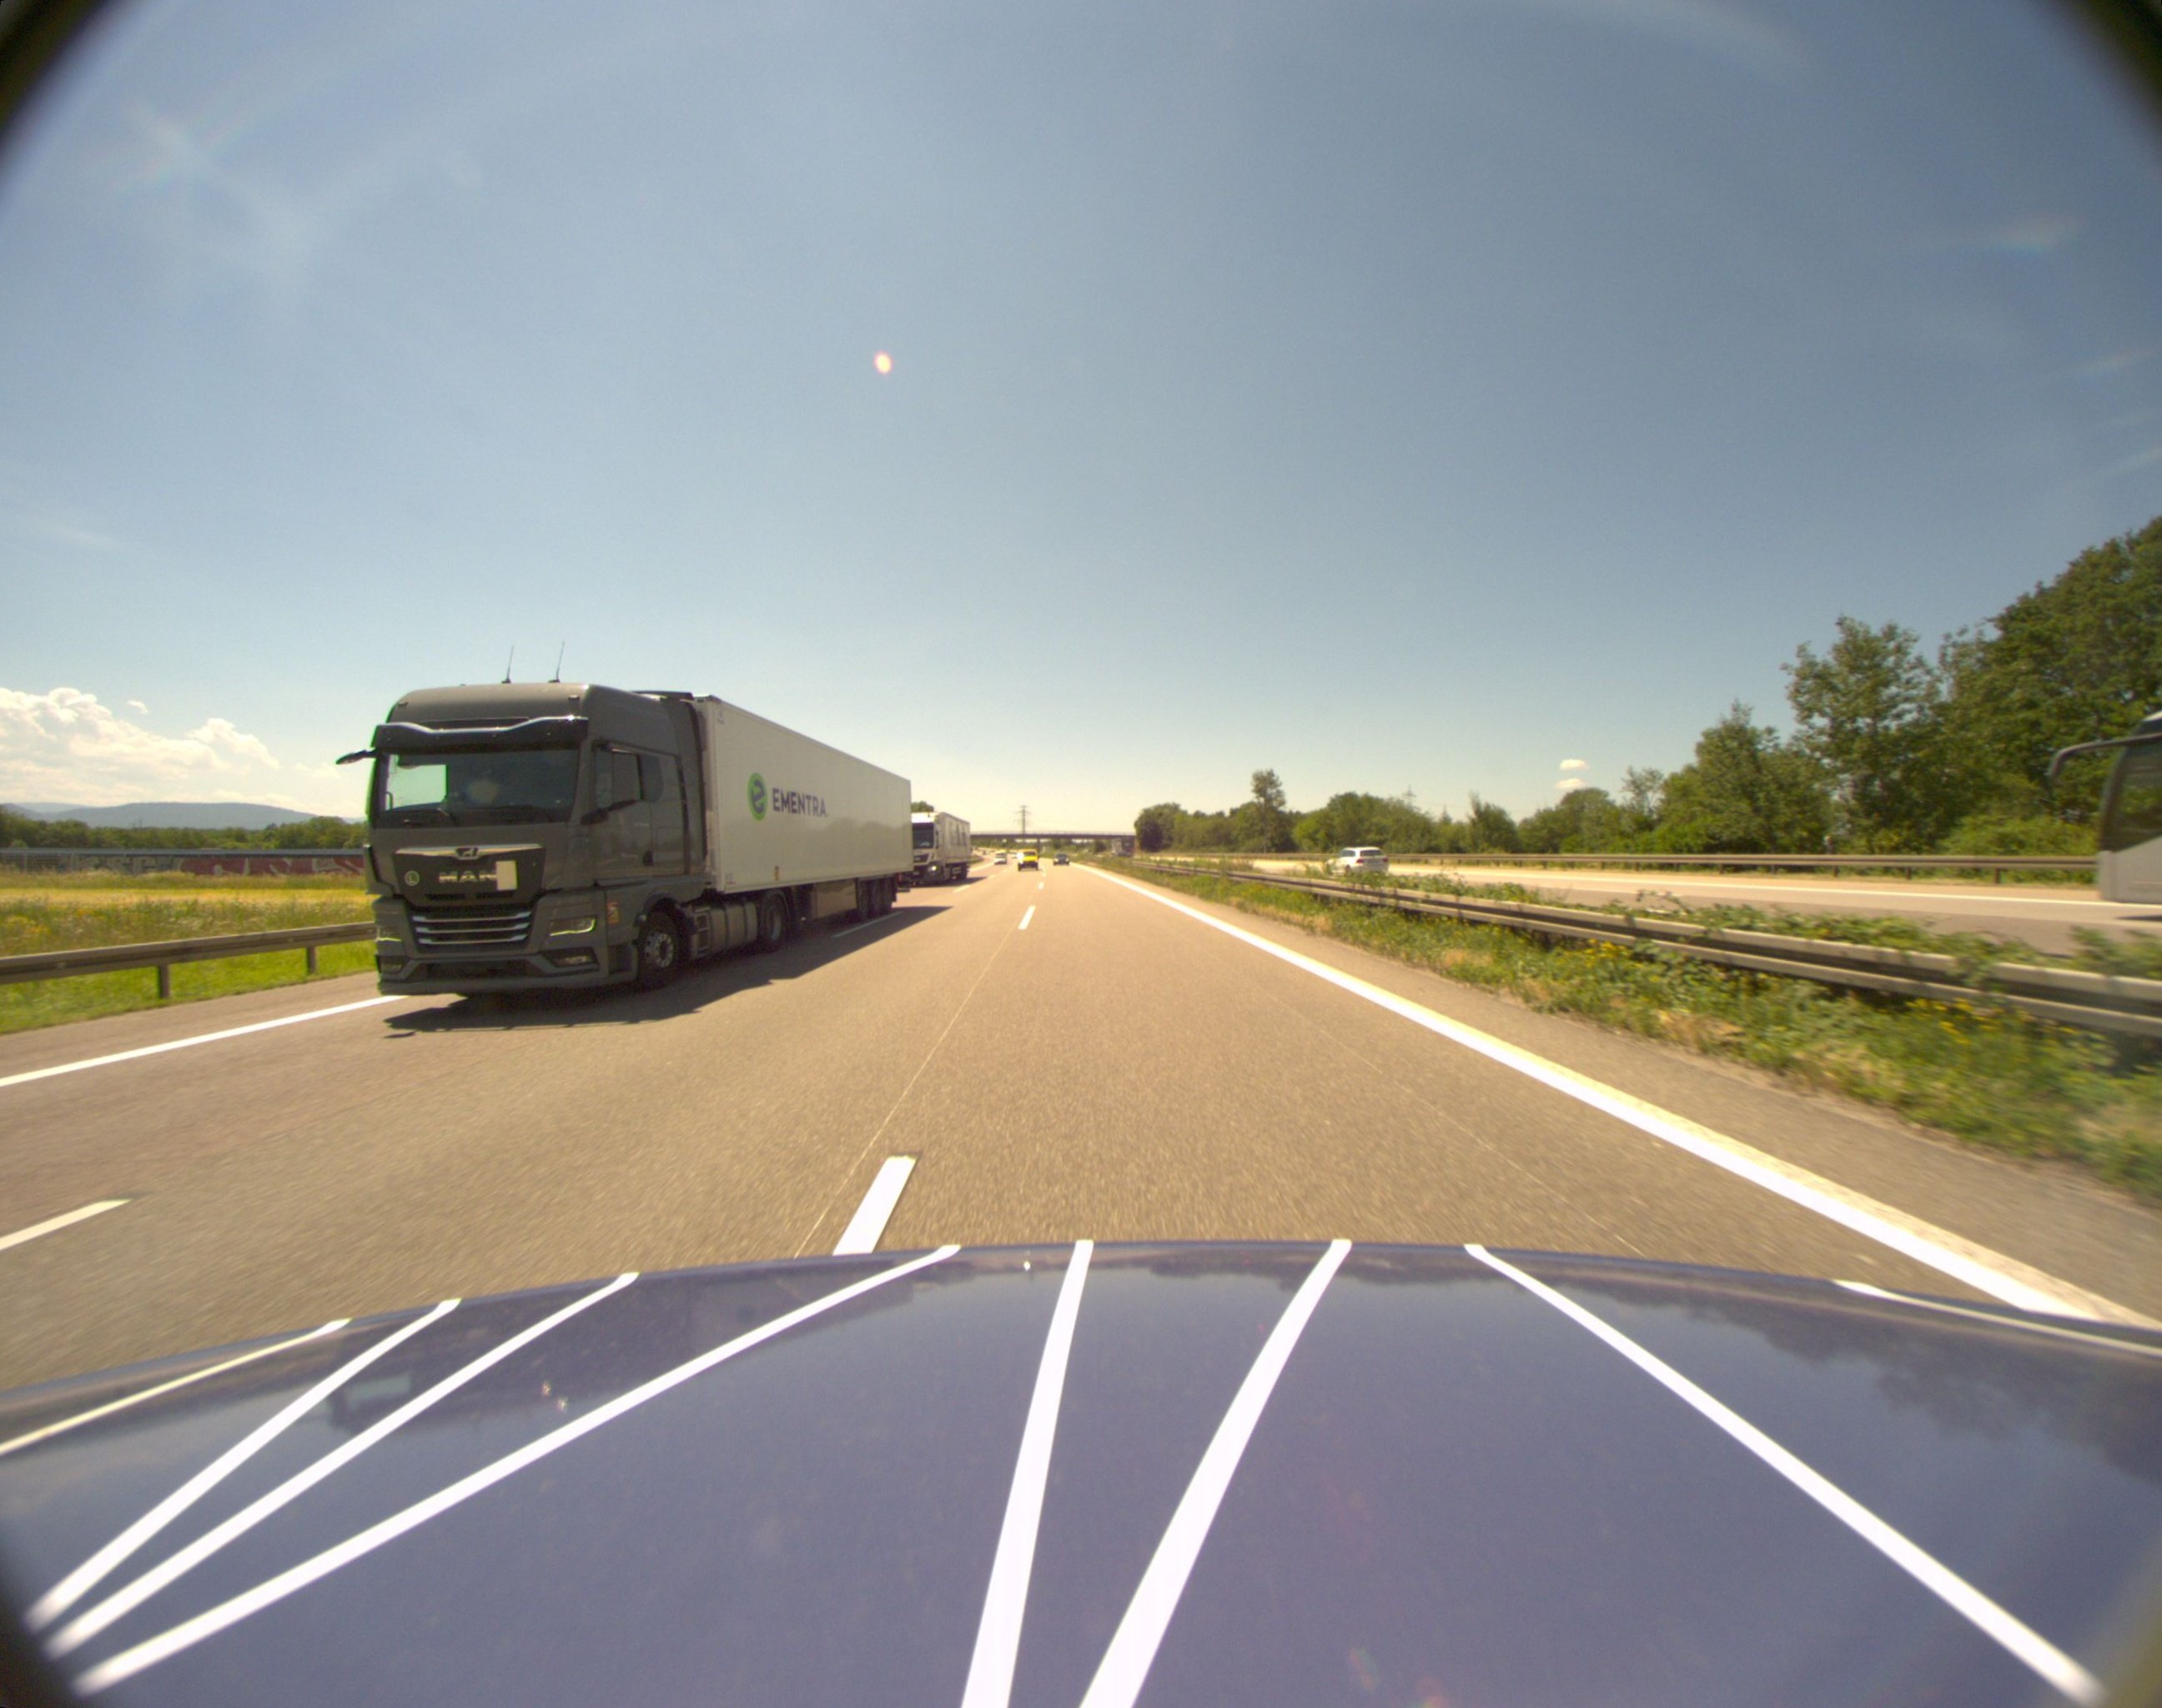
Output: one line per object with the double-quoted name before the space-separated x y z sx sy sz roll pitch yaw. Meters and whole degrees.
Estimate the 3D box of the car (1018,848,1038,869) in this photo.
"car" -4.968 0.385 70.539 1.777 1.882 3.830 -1 1 -4

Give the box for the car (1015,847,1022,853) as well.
"car" -17.403 -1.219 212.781 1.650 1.557 3.596 -1 1 -9

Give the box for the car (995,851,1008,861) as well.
"car" -12.431 0.307 118.106 1.785 1.467 3.996 -1 1 -9

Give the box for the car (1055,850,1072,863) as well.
"car" -2.174 0.258 92.002 1.726 1.478 3.998 -1 1 -5

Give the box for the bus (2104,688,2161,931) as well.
"bus" 17.855 -0.662 5.692 2.748 3.686 12.997 -2 1 -1

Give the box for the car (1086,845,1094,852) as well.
"car" 2.713 -1.812 230.100 2.064 2.059 5.405 -1 1 -6

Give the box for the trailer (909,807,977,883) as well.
"trailer" -8.748 -0.537 49.733 2.603 4.227 13.634 -2 1 -3

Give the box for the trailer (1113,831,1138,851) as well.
"trailer" 9.286 -2.592 159.435 2.889 3.925 14.048 -1 1 -6

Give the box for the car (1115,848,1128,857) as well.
"car" 7.090 -0.295 133.340 1.787 1.509 4.499 -2 1 -3

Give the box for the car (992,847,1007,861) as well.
"car" -13.354 0.015 124.714 2.189 2.253 4.946 -1 1 -9

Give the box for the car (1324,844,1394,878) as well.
"car" 13.602 0.286 37.426 1.772 1.506 4.330 -3 1 -1

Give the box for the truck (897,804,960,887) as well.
"truck" -8.309 -0.488 42.026 2.608 4.232 5.086 -2 1 -3

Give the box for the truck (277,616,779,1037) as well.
"truck" -6.667 -0.289 10.295 2.915 4.231 4.974 -2 1 1

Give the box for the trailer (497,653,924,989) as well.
"trailer" -6.638 -0.516 17.677 2.908 4.630 13.984 -2 1 0
